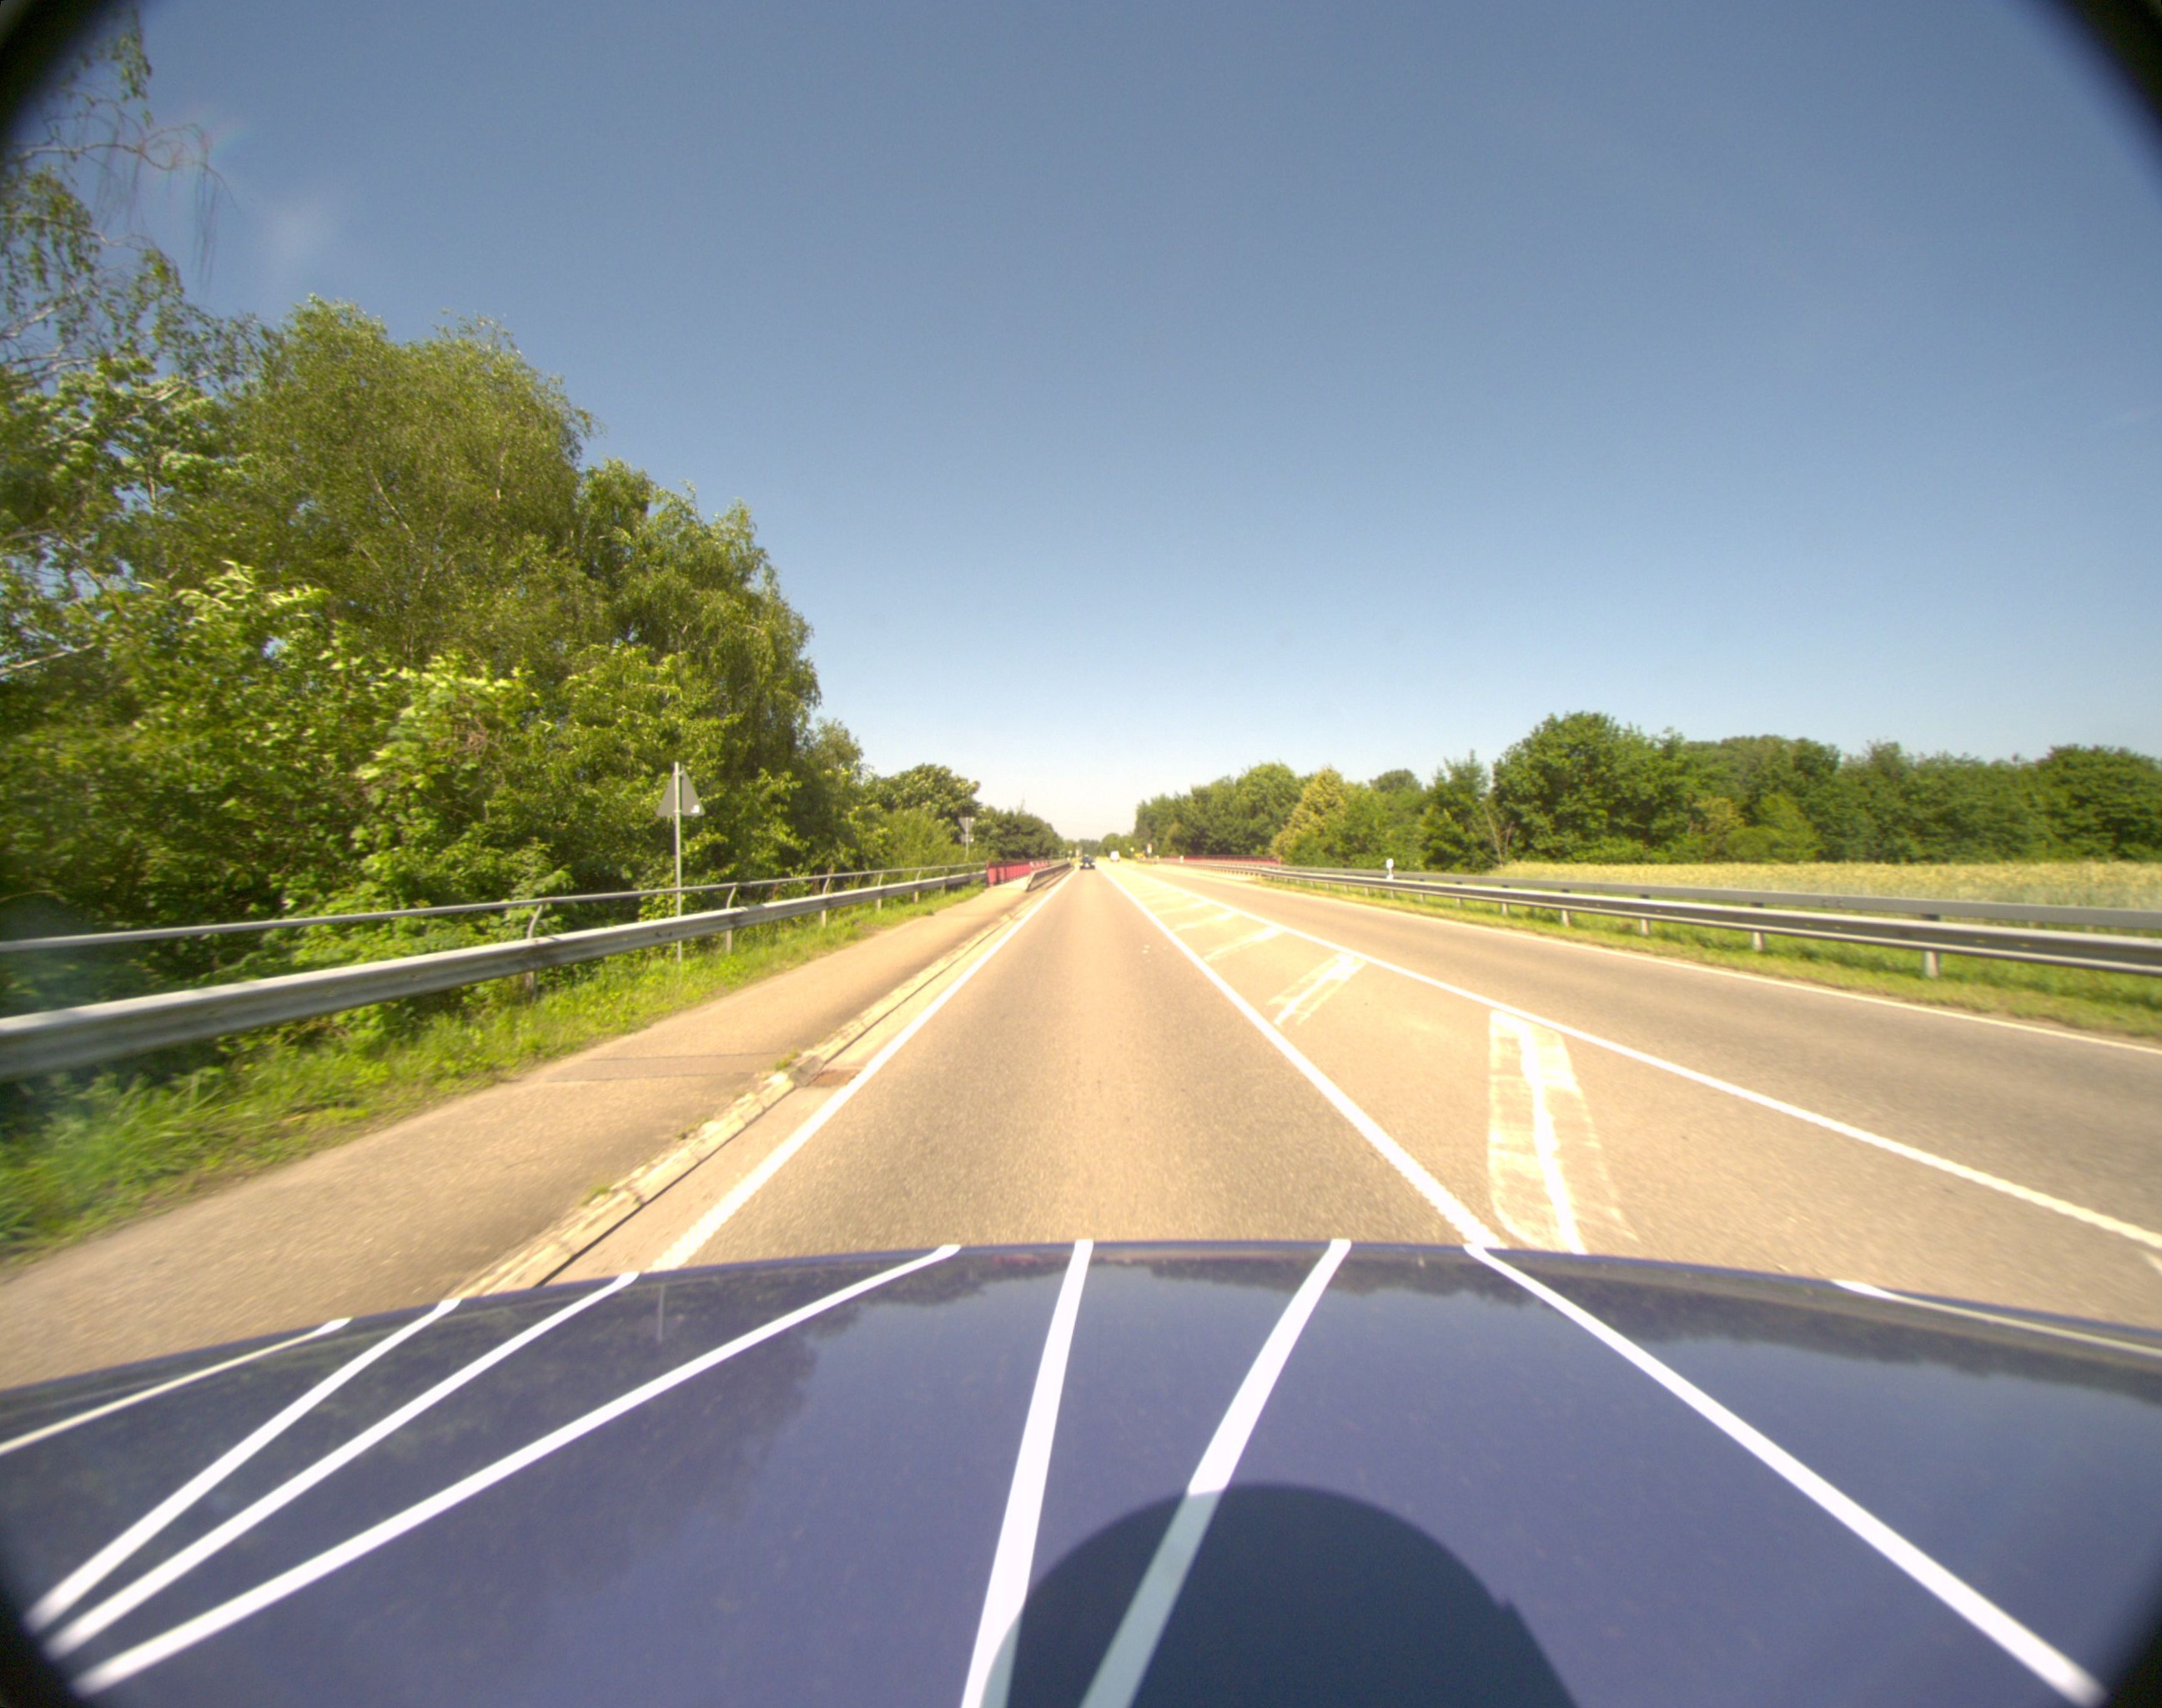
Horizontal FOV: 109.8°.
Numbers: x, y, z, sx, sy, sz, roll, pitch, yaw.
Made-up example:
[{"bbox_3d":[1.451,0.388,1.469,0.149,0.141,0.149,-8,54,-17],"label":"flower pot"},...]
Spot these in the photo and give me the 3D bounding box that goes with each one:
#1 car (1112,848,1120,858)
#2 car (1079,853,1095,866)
[{"bbox_3d":[8.366,-0.285,181.199,1.895,2.214,7.232,-1,0,2],"label":"car"},{"bbox_3d":[0.714,0.663,89.432,1.806,1.390,4.180,-1,0,1],"label":"car"}]
